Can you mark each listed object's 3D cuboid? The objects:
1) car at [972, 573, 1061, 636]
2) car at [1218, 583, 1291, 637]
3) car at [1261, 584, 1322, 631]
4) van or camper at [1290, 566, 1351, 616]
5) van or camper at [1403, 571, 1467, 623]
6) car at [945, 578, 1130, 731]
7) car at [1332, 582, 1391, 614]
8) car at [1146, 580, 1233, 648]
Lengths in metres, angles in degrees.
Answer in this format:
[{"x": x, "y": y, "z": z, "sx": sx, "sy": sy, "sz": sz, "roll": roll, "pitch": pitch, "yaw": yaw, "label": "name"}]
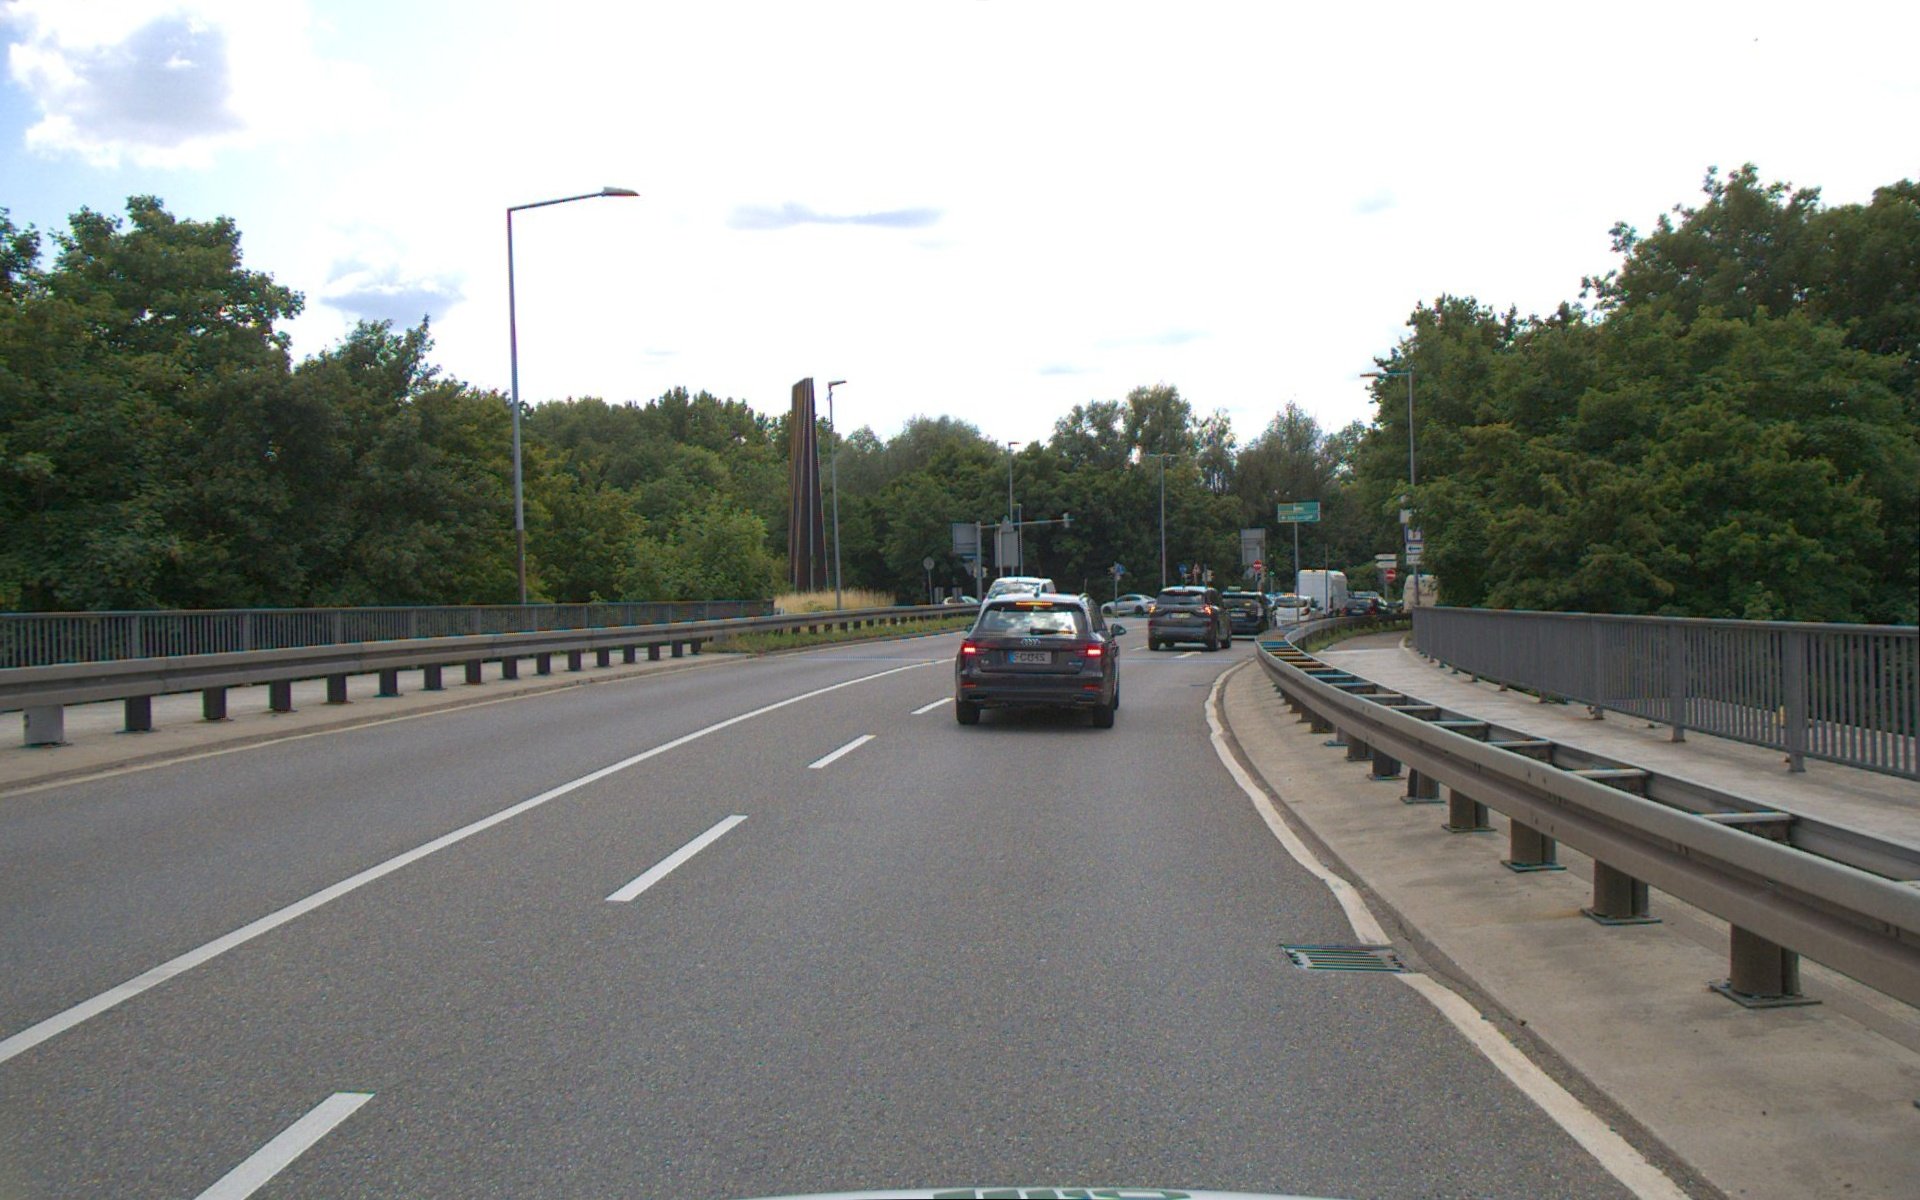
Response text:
[{"x": 1.757, "y": 0.110, "z": 49.613, "sx": 1.775, "sy": 1.784, "sz": 4.309, "roll": 1, "pitch": 0, "yaw": 14, "label": "car"}, {"x": 9.606, "y": 0.294, "z": 53.765, "sx": 1.697, "sy": 1.680, "sz": 3.857, "roll": 1, "pitch": 0, "yaw": 20, "label": "car"}, {"x": 12.758, "y": 0.262, "z": 63.496, "sx": 1.698, "sy": 1.680, "sz": 3.857, "roll": 2, "pitch": 1, "yaw": 19, "label": "car"}, {"x": 17.923, "y": -0.454, "z": 82.103, "sx": 2.226, "sy": 2.381, "sz": 5.242, "roll": 1, "pitch": 1, "yaw": 20, "label": "van or camper"}, {"x": 25.001, "y": -0.196, "z": 86.993, "sx": 1.960, "sy": 2.635, "sz": 4.076, "roll": 2, "pitch": 1, "yaw": 35, "label": "van or camper"}, {"x": 1.015, "y": 0.534, "z": 19.338, "sx": 1.789, "sy": 1.517, "sz": 4.210, "roll": 1, "pitch": 1, "yaw": 7, "label": "car"}, {"x": 18.547, "y": -0.072, "z": 76.311, "sx": 1.652, "sy": 1.422, "sz": 3.670, "roll": 0, "pitch": 0, "yaw": 31, "label": "car"}, {"x": 6.133, "y": 0.329, "z": 43.826, "sx": 1.783, "sy": 1.680, "sz": 3.858, "roll": 1, "pitch": 1, "yaw": 15, "label": "car"}]
